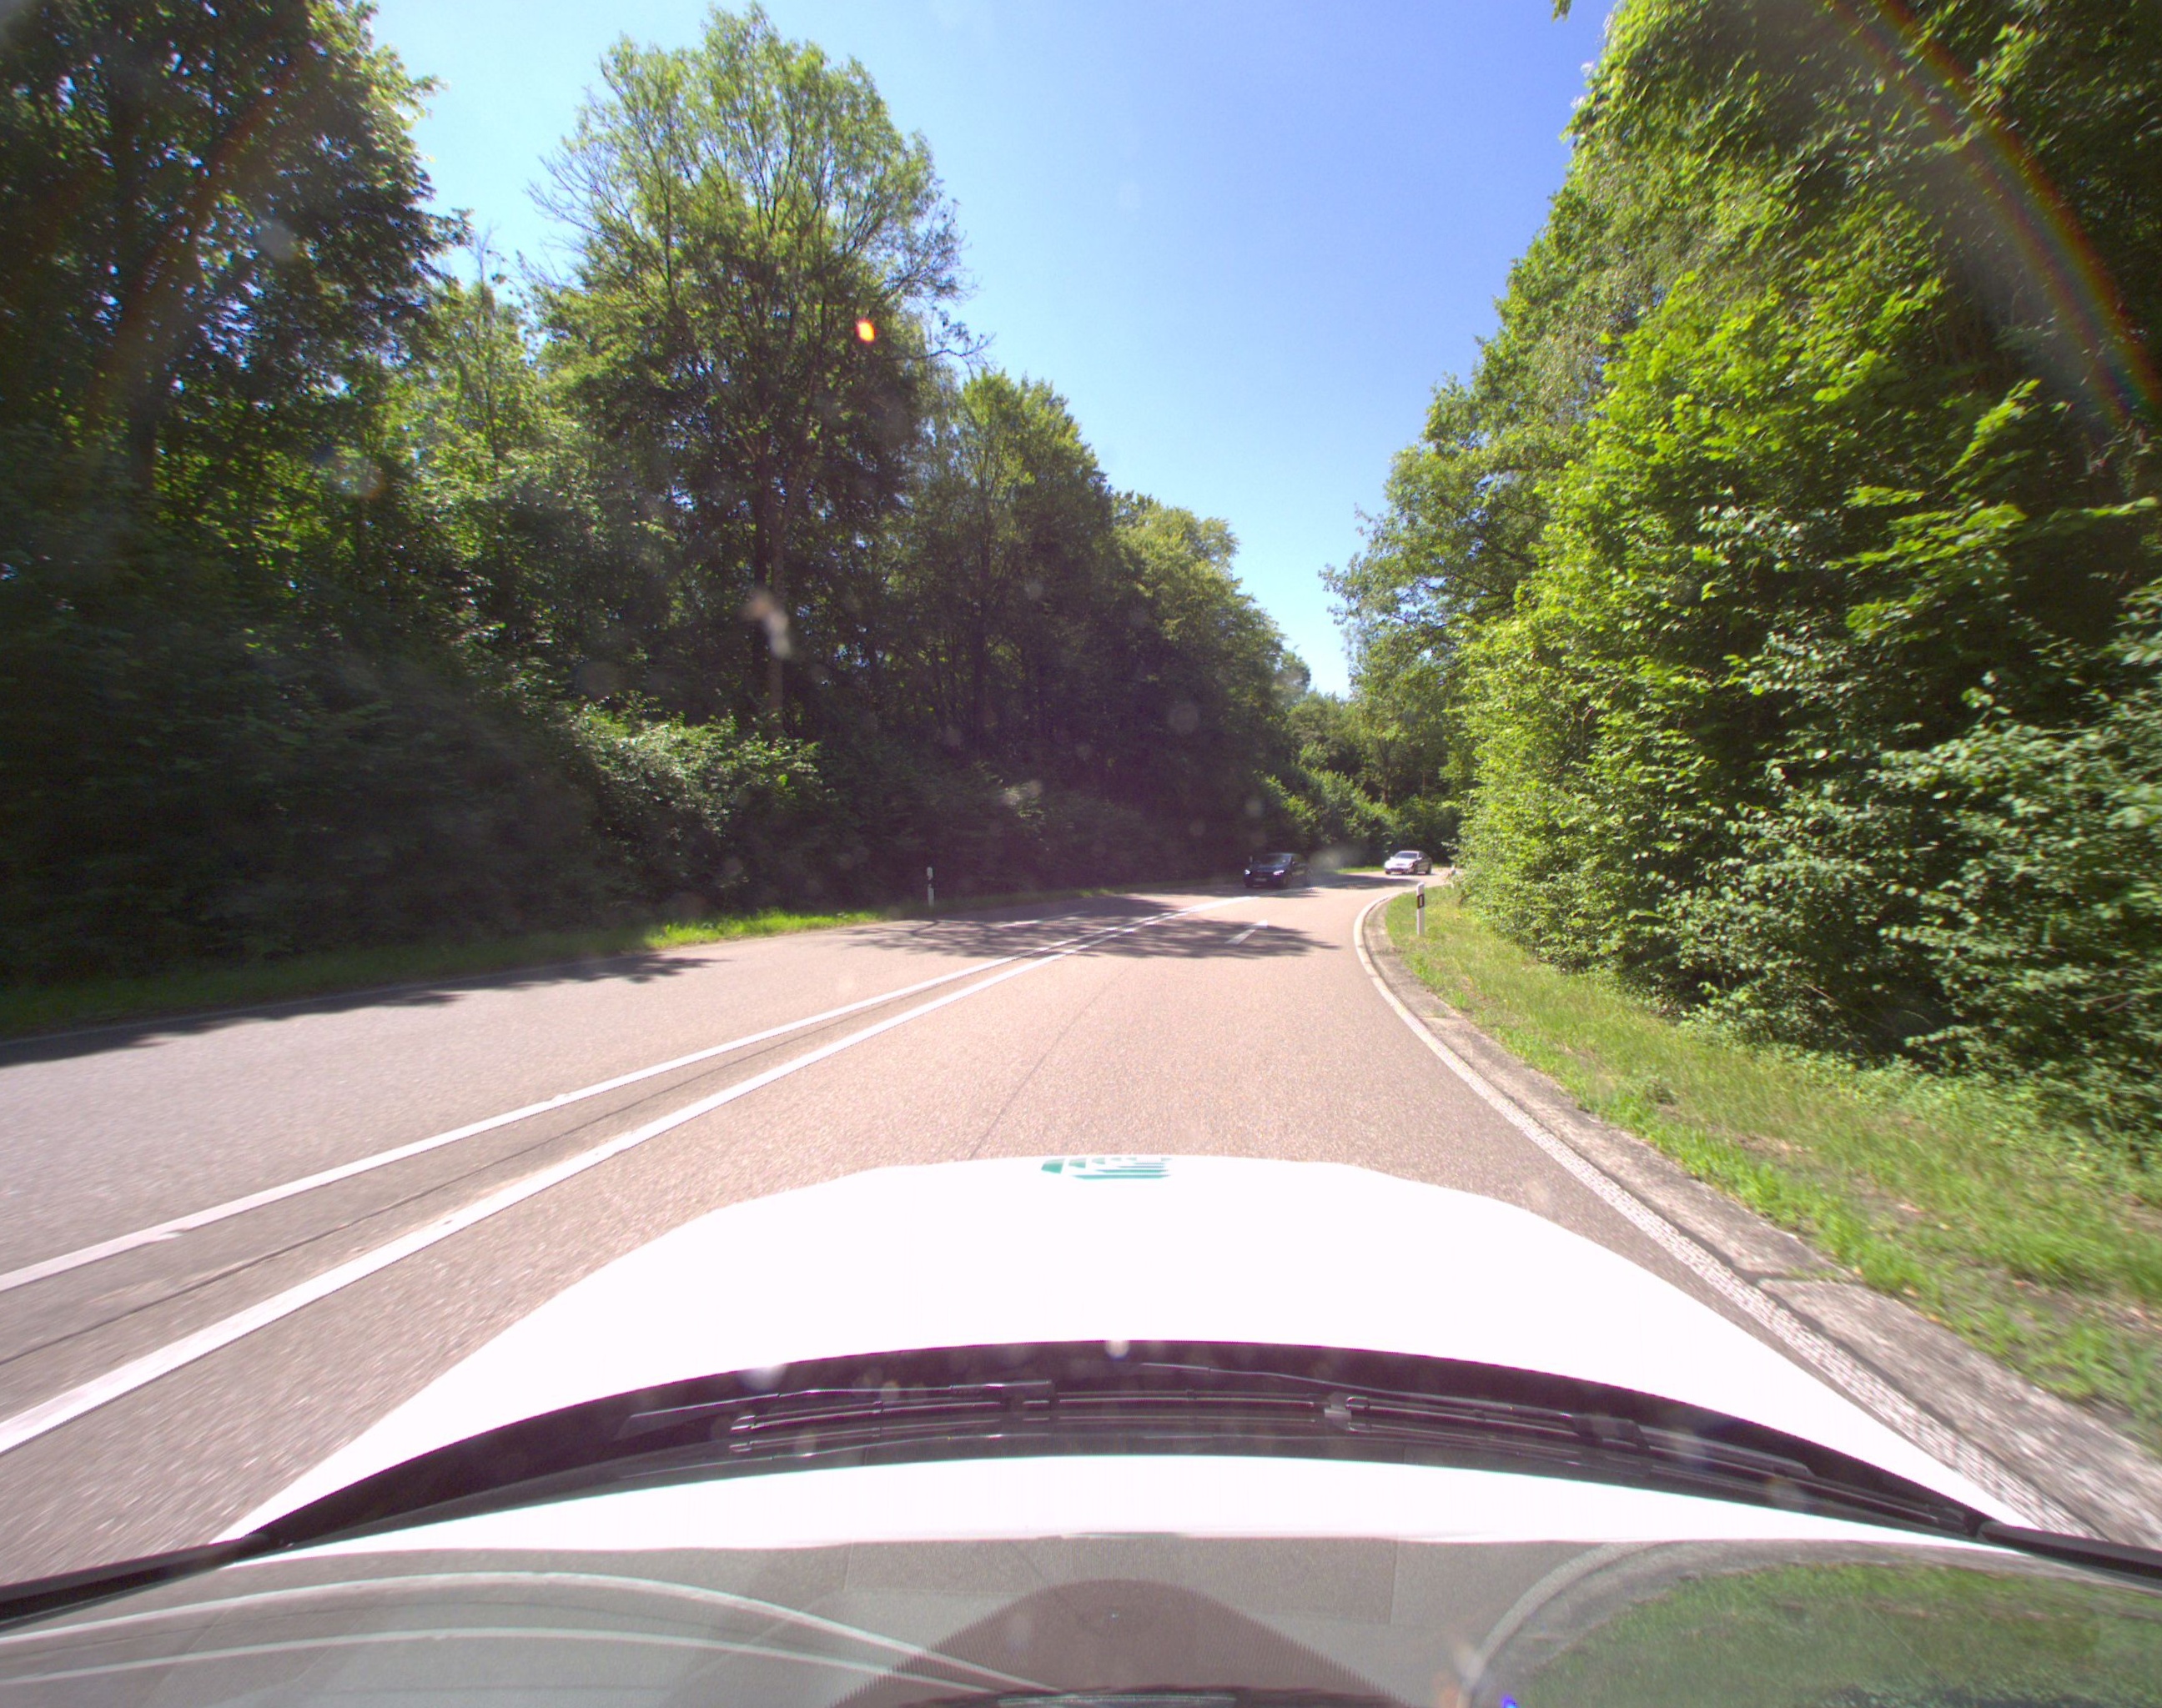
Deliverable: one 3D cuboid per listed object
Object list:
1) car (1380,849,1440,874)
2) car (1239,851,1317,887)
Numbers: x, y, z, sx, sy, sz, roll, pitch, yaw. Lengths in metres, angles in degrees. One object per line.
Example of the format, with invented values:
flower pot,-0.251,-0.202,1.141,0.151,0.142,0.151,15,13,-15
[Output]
car,20.505,0.452,50.657,1.828,1.486,4.793,-1,-1,43
car,8.297,0.603,34.044,1.771,1.406,4.388,-1,-1,34
